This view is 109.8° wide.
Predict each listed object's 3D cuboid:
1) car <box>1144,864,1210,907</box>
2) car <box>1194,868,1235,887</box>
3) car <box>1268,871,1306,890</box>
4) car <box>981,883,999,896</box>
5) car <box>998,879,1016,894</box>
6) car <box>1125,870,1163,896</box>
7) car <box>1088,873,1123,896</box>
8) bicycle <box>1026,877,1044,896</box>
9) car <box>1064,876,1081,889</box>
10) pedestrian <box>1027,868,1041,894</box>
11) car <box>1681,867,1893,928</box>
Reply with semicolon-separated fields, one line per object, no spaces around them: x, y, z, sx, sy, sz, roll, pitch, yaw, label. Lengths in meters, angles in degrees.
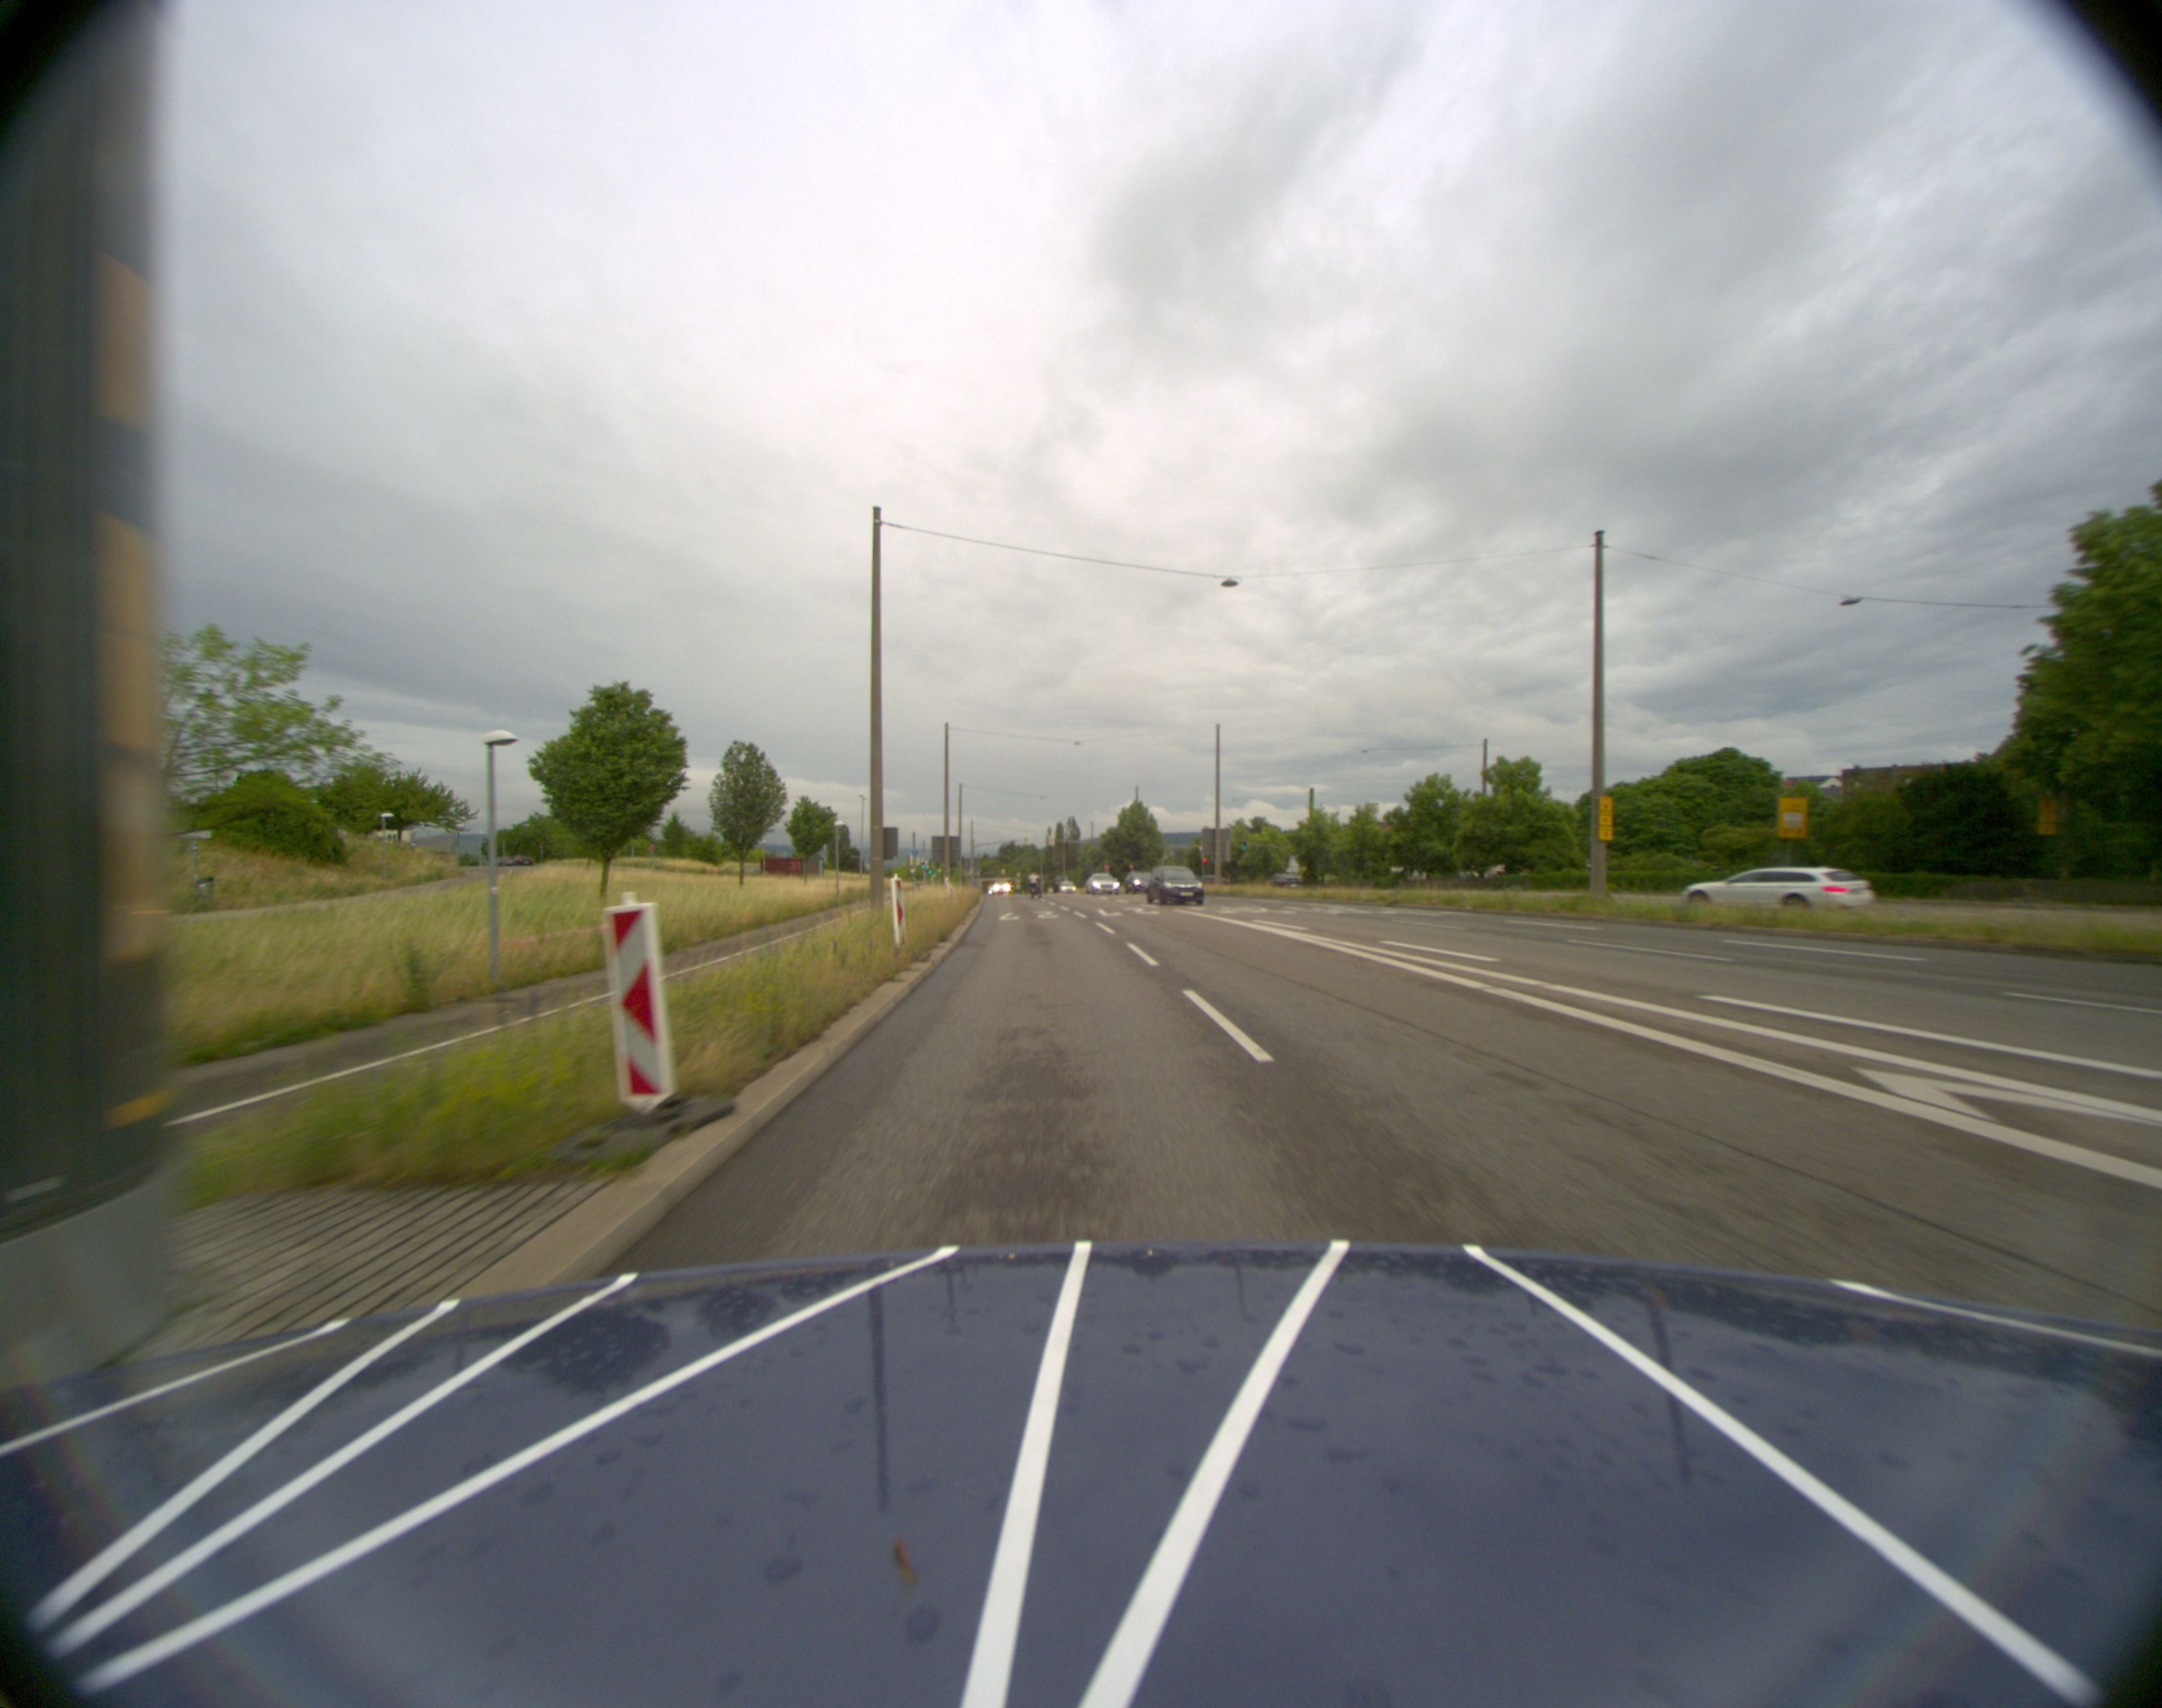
3.917;1.340;31.617;1.801;1.555;4.043;-3;-3;-6;car
11.213;2.033;64.166;1.897;1.497;3.996;1;-3;-15;car
16.413;2.120;60.616;1.599;1.352;3.676;-3;-2;-7;car
-11.833;4.642;98.992;1.999;1.632;4.629;-3;-2;-3;car
-8.199;3.638;84.275;1.726;1.512;4.229;0;-3;-2;car
4.652;2.157;56.816;2.000;1.849;3.999;-1;-3;-8;car
1.622;2.133;52.218;1.999;1.399;4.526;-3;-3;-2;car
-2.741;1.951;45.164;0.635;1.098;1.751;0;-2;-17;bicycle
-1.214;3.904;103.311;1.999;1.632;4.629;-3;-2;-4;car
-2.782;1.614;45.299;0.635;1.561;0.895;0;-2;-17;pedestrian
23.336;1.346;25.433;2.001;1.760;4.865;-1;0;-15;car
